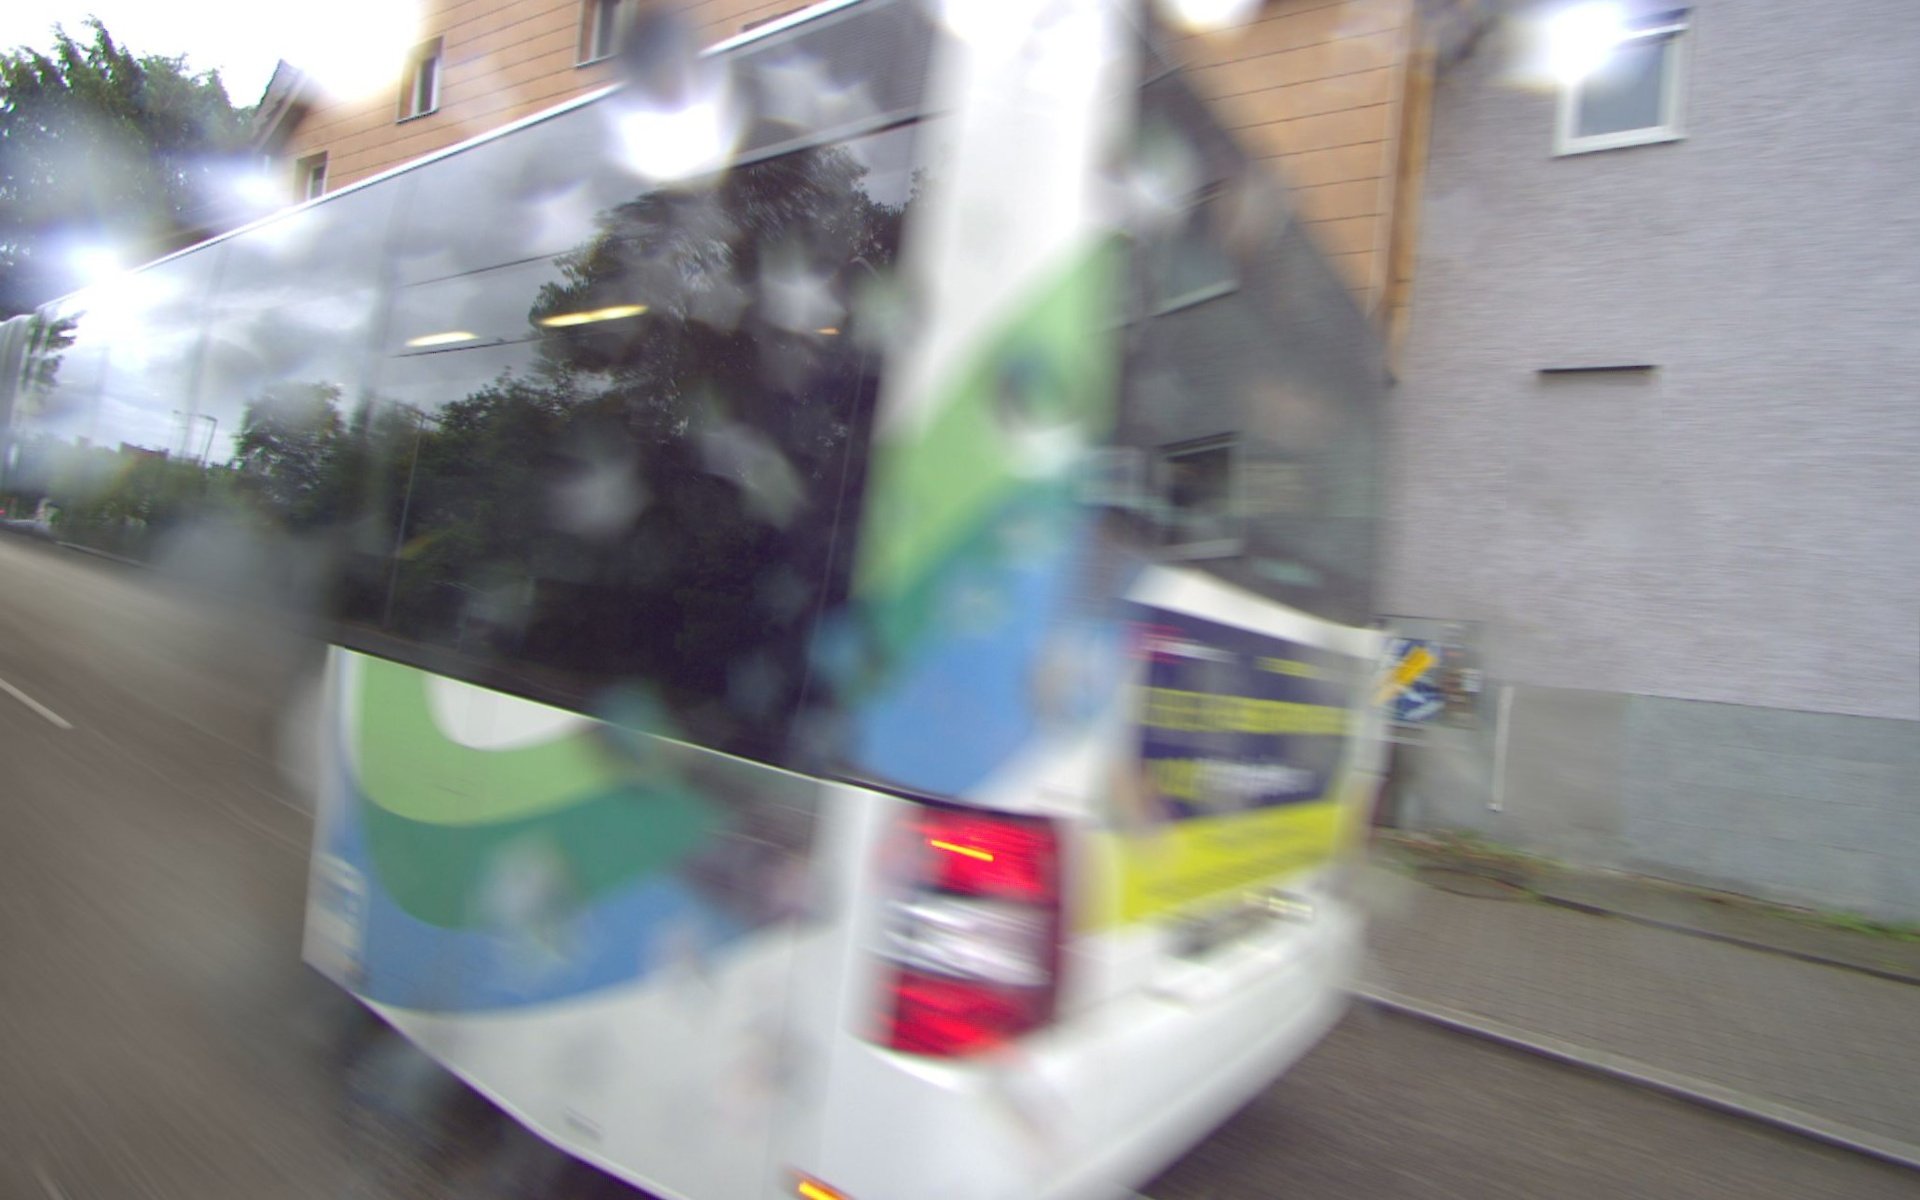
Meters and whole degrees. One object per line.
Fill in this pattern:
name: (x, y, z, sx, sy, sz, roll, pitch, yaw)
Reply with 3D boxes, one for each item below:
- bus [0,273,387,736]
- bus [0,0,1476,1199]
bus: (-9.648, -0.931, 9.933, 9.293, 2.994, 2.561, 6, -1, 32)
bus: (-2.475, -0.140, 4.999, 8.428, 2.994, 2.556, 6, -1, 37)
